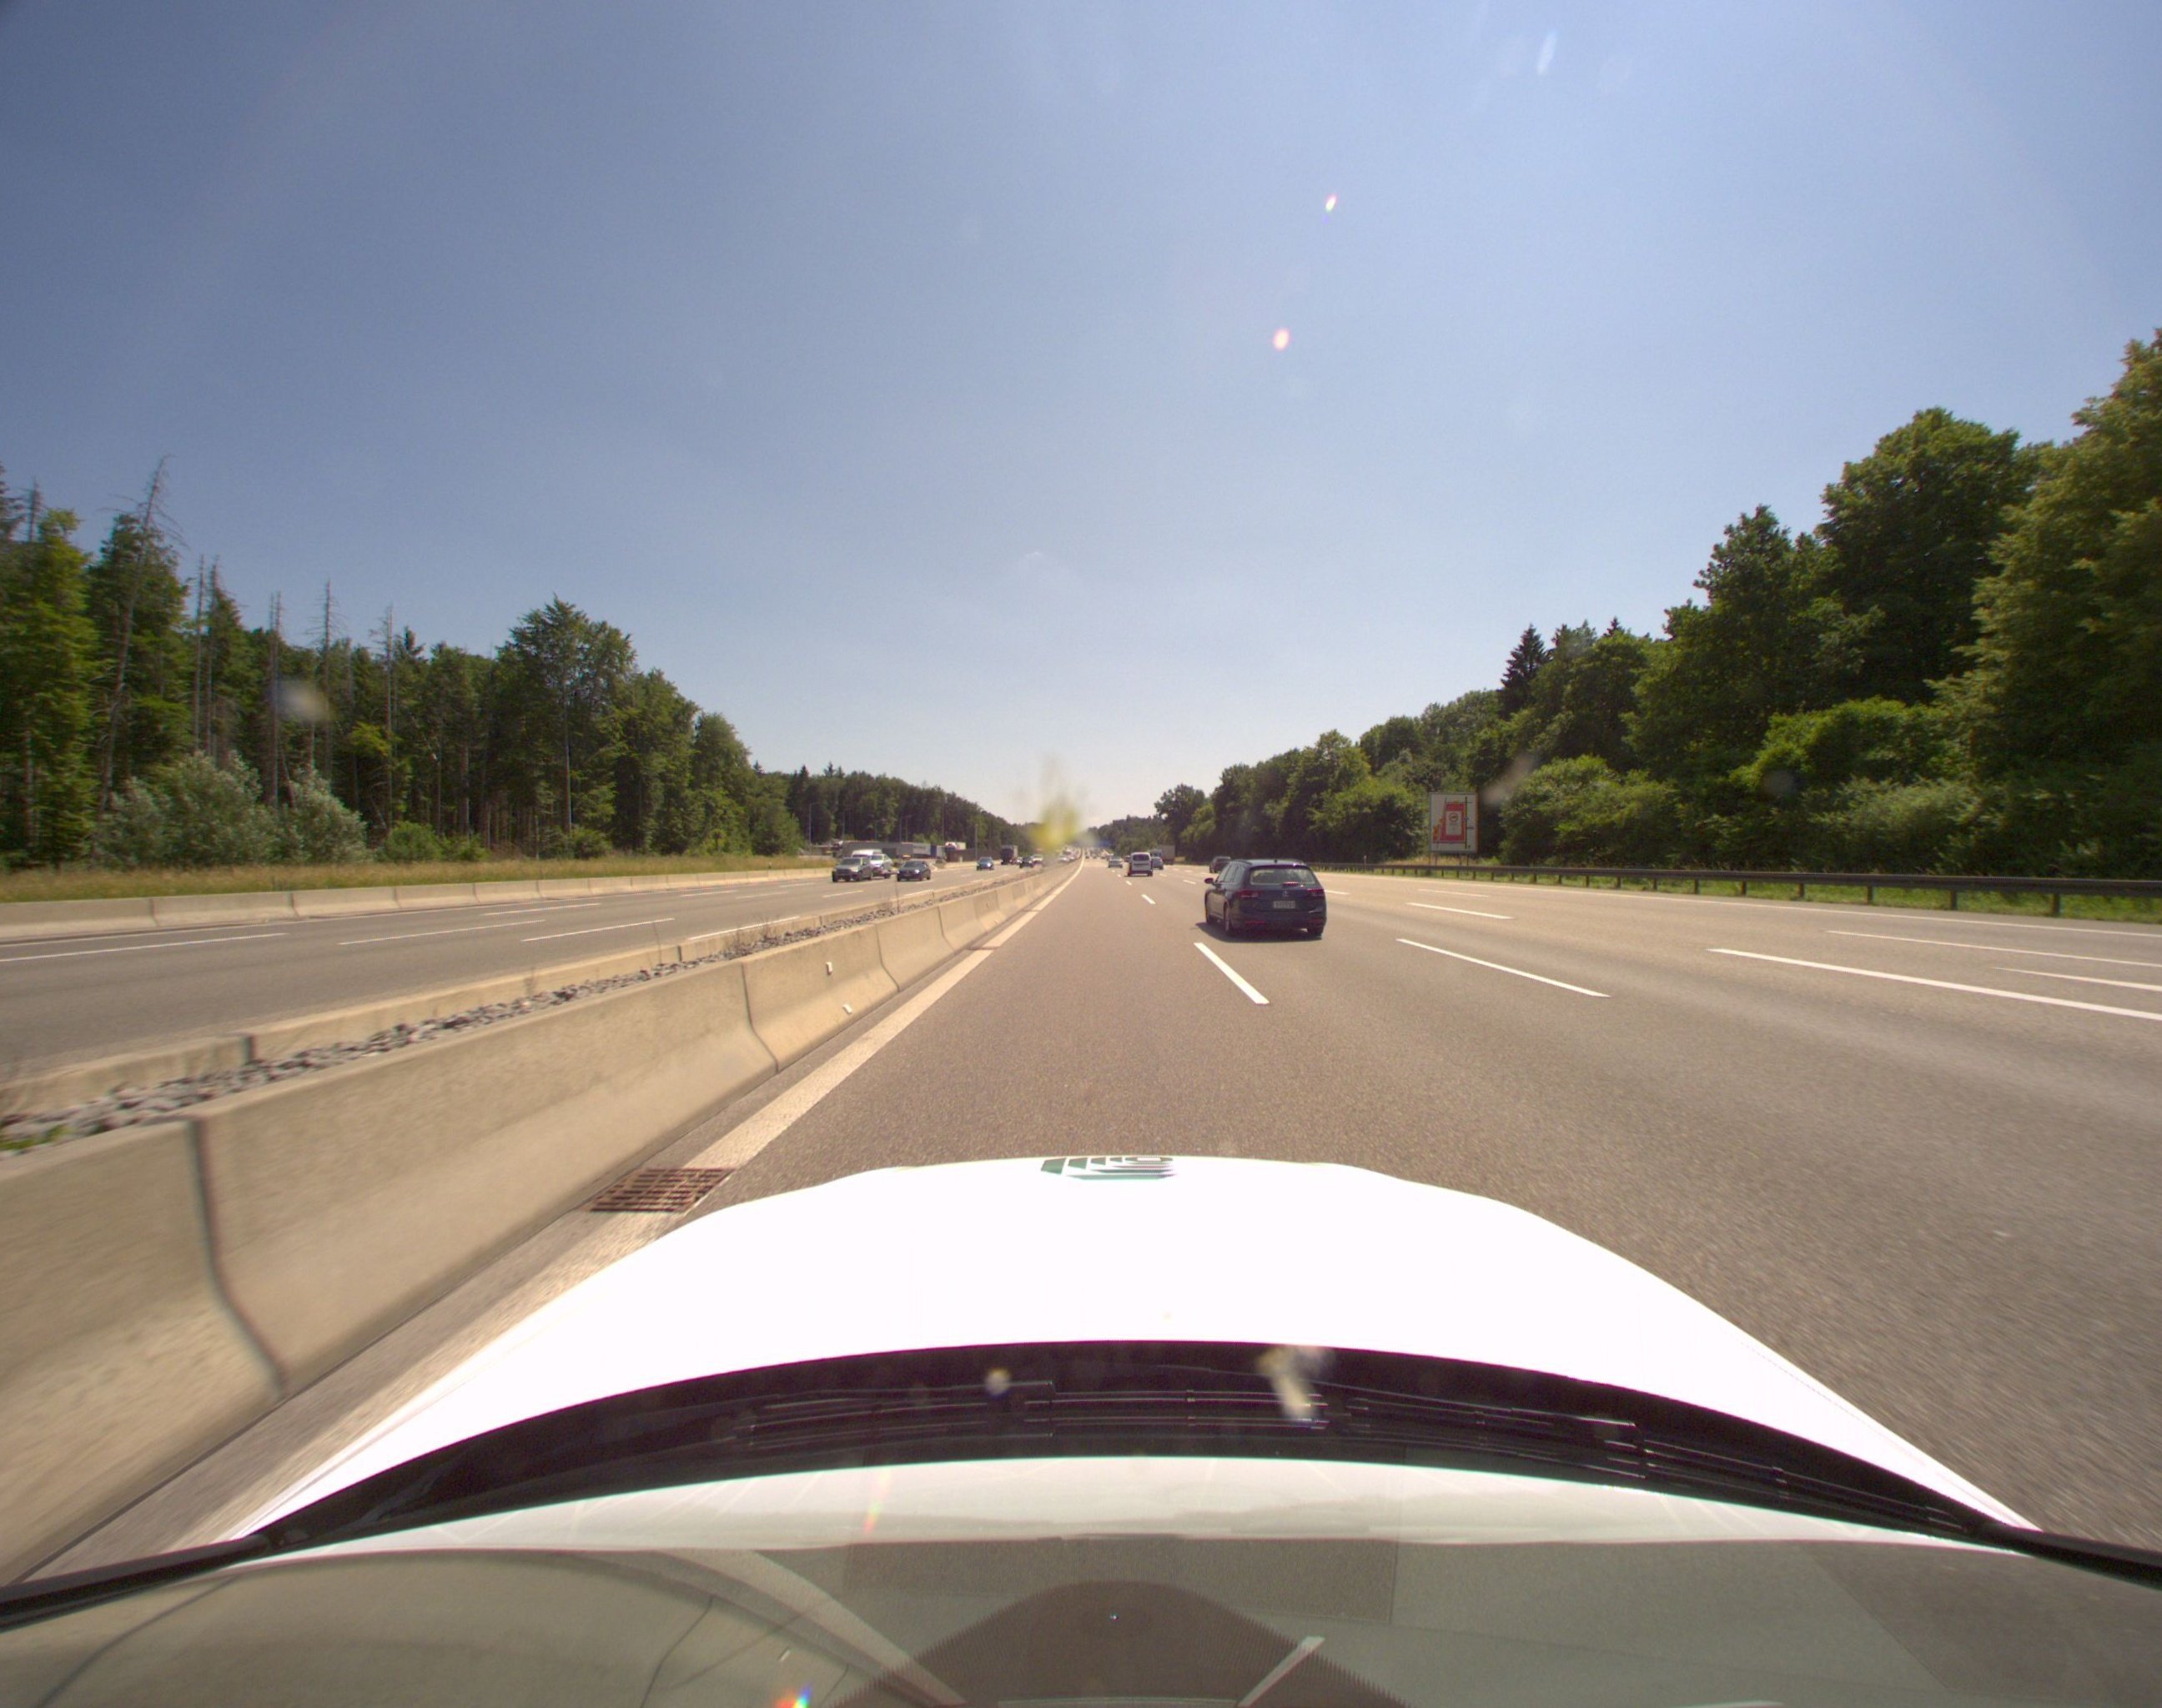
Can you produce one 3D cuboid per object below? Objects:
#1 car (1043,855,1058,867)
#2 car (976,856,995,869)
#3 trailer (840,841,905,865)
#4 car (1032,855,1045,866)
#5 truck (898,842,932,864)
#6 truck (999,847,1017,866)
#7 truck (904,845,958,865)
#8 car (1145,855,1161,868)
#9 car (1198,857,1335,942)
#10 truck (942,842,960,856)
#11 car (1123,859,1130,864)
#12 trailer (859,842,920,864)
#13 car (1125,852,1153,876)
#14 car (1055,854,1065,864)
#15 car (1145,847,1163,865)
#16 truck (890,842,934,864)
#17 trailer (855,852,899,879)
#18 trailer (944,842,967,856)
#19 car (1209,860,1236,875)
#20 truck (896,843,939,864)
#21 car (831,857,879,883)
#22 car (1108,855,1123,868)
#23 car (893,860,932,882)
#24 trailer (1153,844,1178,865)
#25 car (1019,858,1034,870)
[{"bbox_3d":[-4.208,0.979,112.707,1.843,1.677,5.045,-1,0,1],"label":"car"},{"bbox_3d":[-11.839,1.033,101.185,1.723,1.570,4.673,-1,0,1],"label":"car"},{"bbox_3d":[-46.557,-0.177,182.423,3.091,5.072,14.652,0,-1,44],"label":"trailer"},{"bbox_3d":[-7.868,1.197,151.721,1.986,2.014,5.130,0,-1,1],"label":"car"},{"bbox_3d":[-42.963,-0.245,210.937,3.188,5.613,8.538,0,-1,44],"label":"truck"},{"bbox_3d":[-15.222,0.551,169.556,3.277,3.931,5.538,0,0,0],"label":"truck"},{"bbox_3d":[-43.986,0.245,239.453,3.408,5.613,16.808,0,-1,45],"label":"truck"},{"bbox_3d":[8.115,0.853,92.050,1.498,1.500,3.650,0,-1,1],"label":"car"},{"bbox_3d":[3.577,0.796,16.624,1.723,1.447,4.961,-1,0,1],"label":"car"},{"bbox_3d":[-29.002,-1.107,181.651,2.917,3.124,6.201,0,0,0],"label":"truck"},{"bbox_3d":[13.252,2.150,236.086,1.829,1.338,3.642,0,-1,0],"label":"car"},{"bbox_3d":[-45.401,-0.095,193.680,3.183,5.072,14.652,0,-1,44],"label":"trailer"},{"bbox_3d":[4.463,0.752,62.846,1.853,1.826,4.612,0,0,0],"label":"car"},{"bbox_3d":[-4.636,1.137,180.337,1.986,2.013,5.130,-1,0,1],"label":"car"},{"bbox_3d":[11.237,0.329,125.405,2.136,2.652,5.709,1,0,0],"label":"car"},{"bbox_3d":[-44.444,-0.214,214.273,3.188,5.613,11.605,0,-1,44],"label":"truck"},{"bbox_3d":[-16.092,0.886,64.559,1.848,2.051,6.153,-1,0,1],"label":"trailer"},{"bbox_3d":[-28.965,-1.083,188.424,2.962,3.124,14.607,0,0,0],"label":"trailer"},{"bbox_3d":[12.197,1.165,70.456,1.665,1.273,4.290,0,0,1],"label":"car"},{"bbox_3d":[-44.006,-0.173,219.785,3.188,5.613,11.605,0,-1,44],"label":"truck"},{"bbox_3d":[-16.185,1.100,58.650,1.807,1.759,5.583,-1,0,1],"label":"car"},{"bbox_3d":[4.487,1.012,106.837,1.836,1.629,4.554,0,-1,1],"label":"car"},{"bbox_3d":[-11.870,1.182,57.752,1.723,1.464,4.576,-1,0,1],"label":"car"},{"bbox_3d":[17.225,0.006,166.984,3.277,3.930,13.887,2,1,0],"label":"trailer"},{"bbox_3d":[-7.905,1.438,118.691,1.821,1.699,5.003,-1,0,1],"label":"car"}]
